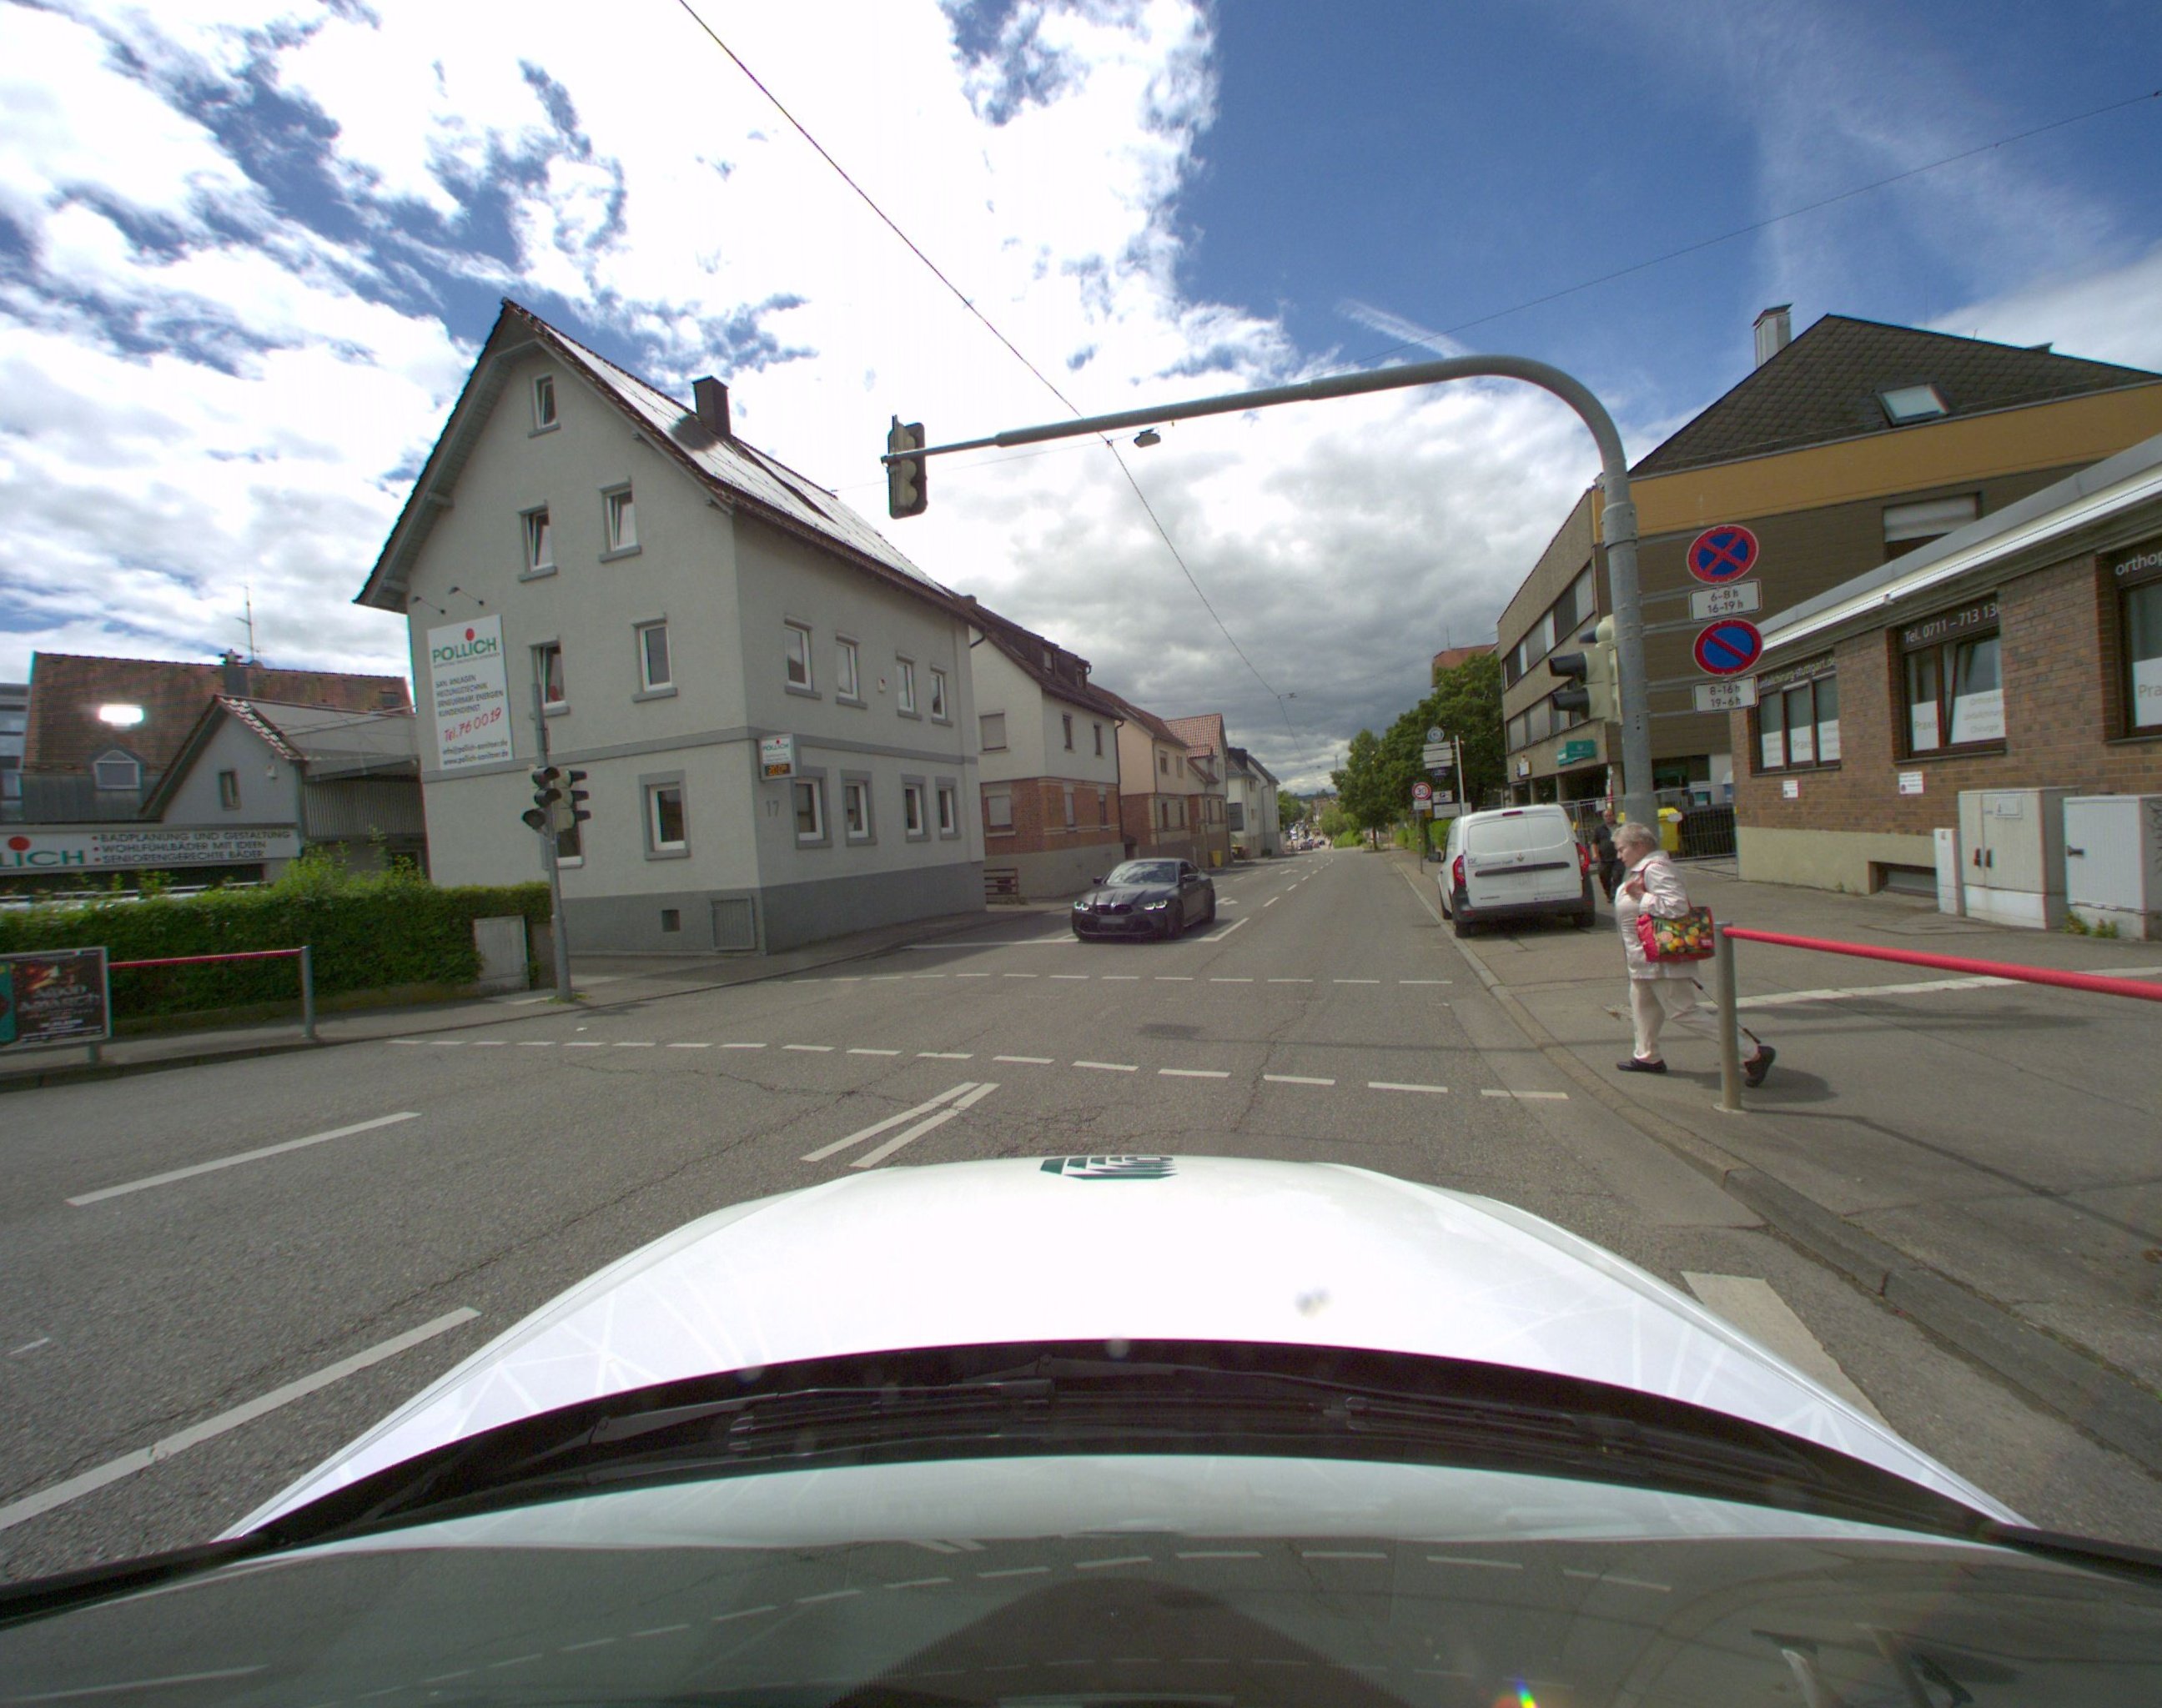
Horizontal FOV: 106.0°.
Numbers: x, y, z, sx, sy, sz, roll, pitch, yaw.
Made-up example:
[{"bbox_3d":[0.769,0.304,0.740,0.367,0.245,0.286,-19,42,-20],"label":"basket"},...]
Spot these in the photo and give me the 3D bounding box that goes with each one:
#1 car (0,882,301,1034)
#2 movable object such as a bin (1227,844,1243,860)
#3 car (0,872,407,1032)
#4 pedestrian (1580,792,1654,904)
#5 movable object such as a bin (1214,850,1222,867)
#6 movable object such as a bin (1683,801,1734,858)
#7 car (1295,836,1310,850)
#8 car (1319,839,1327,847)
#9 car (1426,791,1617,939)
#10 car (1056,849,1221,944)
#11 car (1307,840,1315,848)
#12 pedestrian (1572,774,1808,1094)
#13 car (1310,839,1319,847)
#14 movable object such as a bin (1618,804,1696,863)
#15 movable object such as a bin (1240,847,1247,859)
[{"bbox_3d":[-16.146,1.641,13.536,1.976,2.013,4.021,-4,0,21],"label":"car"},{"bbox_3d":[13.695,-0.147,72.365,1.272,1.310,0.819,-4,0,14],"label":"movable object such as a bin"},{"bbox_3d":[-13.806,1.422,13.088,1.977,1.947,4.021,-5,0,20],"label":"car"},{"bbox_3d":[9.042,-0.099,13.766,0.836,1.803,0.654,-3,0,19],"label":"pedestrian"},{"bbox_3d":[9.586,0.291,56.816,0.428,1.128,0.300,-5,0,18],"label":"movable object such as a bin"},{"bbox_3d":[16.940,-0.679,22.000,0.773,1.439,1.024,-4,2,22],"label":"movable object such as a bin"},{"bbox_3d":[36.761,-1.817,135.386,1.981,2.013,4.012,-4,0,10],"label":"car"},{"bbox_3d":[68.959,-3.168,232.450,1.979,2.013,4.016,-5,-1,15],"label":"car"},{"bbox_3d":[6.808,0.119,13.120,1.895,1.794,4.514,-7,-1,20],"label":"car"},{"bbox_3d":[1.300,0.708,15.731,1.977,1.457,4.640,-2,1,19],"label":"car"},{"bbox_3d":[64.587,-2.897,228.772,1.979,2.013,4.016,-5,-1,15],"label":"car"},{"bbox_3d":[3.454,0.439,4.740,0.862,1.637,0.842,-7,-3,31],"label":"pedestrian"},{"bbox_3d":[62.813,-2.925,219.076,1.979,2.013,4.016,-5,-1,15],"label":"car"},{"bbox_3d":[15.887,-0.572,22.505,1.469,1.492,1.082,-4,2,22],"label":"movable object such as a bin"},{"bbox_3d":[14.625,-0.068,73.240,0.527,1.030,0.457,-4,0,17],"label":"movable object such as a bin"}]
